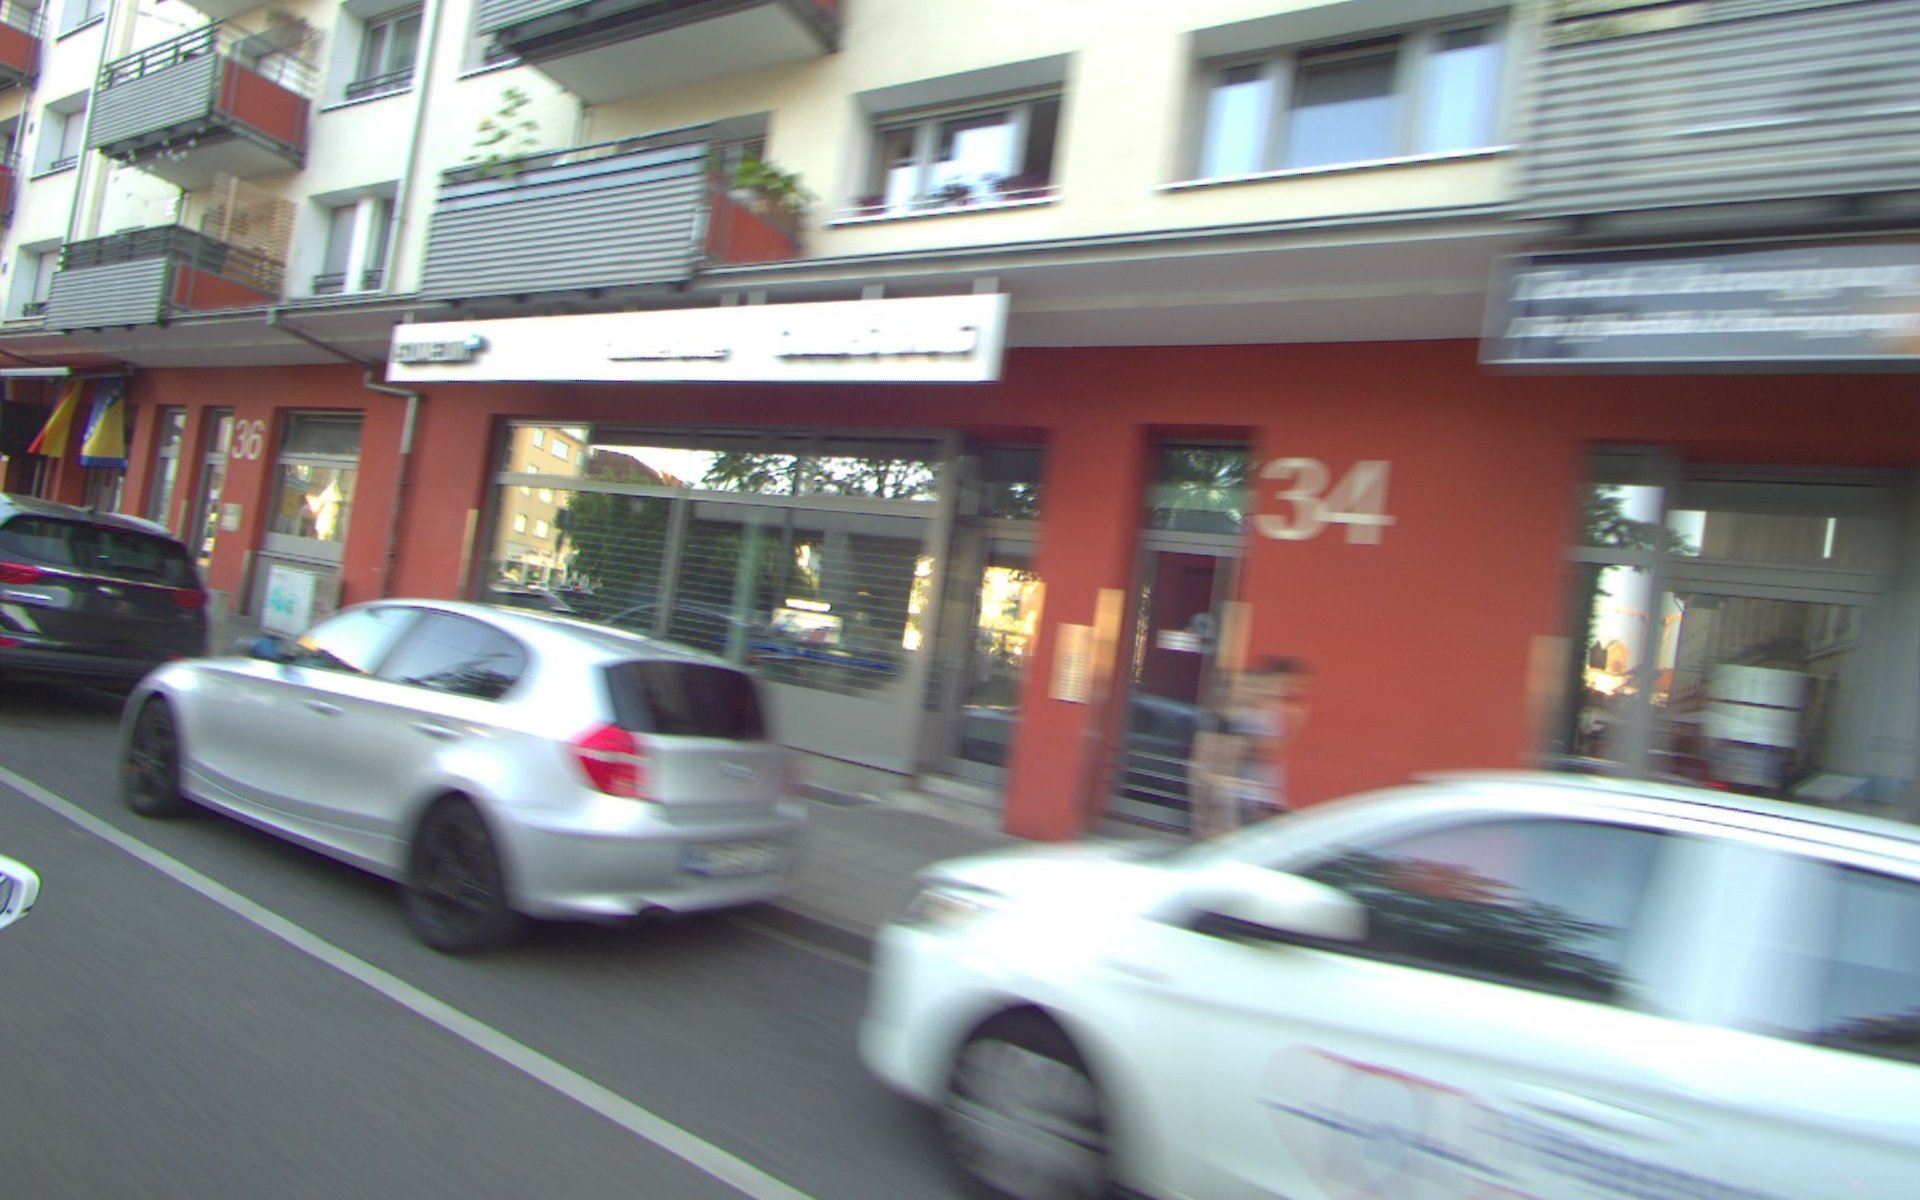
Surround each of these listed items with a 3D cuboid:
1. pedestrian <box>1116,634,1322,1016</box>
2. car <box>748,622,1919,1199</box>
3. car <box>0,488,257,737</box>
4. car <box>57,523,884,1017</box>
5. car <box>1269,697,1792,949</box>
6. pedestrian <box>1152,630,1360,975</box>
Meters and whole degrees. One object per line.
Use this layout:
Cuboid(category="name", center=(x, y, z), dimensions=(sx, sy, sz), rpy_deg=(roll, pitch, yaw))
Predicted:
Cuboid(category="pedestrian", center=(1.305, 1.054, 5.031), dimensions=(0.644, 1.682, 0.648), rpy_deg=(7, 1, 33))
Cuboid(category="car", center=(1.525, 1.170, 2.874), dimensions=(3.981, 1.527, 1.612), rpy_deg=(8, -4, 32))
Cuboid(category="car", center=(-8.340, -0.104, 8.683), dimensions=(4.710, 1.658, 1.771), rpy_deg=(8, -4, 31))
Cuboid(category="car", center=(-2.800, 0.662, 5.512), dimensions=(4.382, 1.467, 1.705), rpy_deg=(8, -4, 29))
Cuboid(category="car", center=(5.266, 1.950, 9.706), dimensions=(3.935, 1.352, 1.743), rpy_deg=(8, -2, 33))
Cuboid(category="pedestrian", center=(1.654, 1.061, 5.610), dimensions=(0.781, 1.682, 0.648), rpy_deg=(7, 1, 33))
